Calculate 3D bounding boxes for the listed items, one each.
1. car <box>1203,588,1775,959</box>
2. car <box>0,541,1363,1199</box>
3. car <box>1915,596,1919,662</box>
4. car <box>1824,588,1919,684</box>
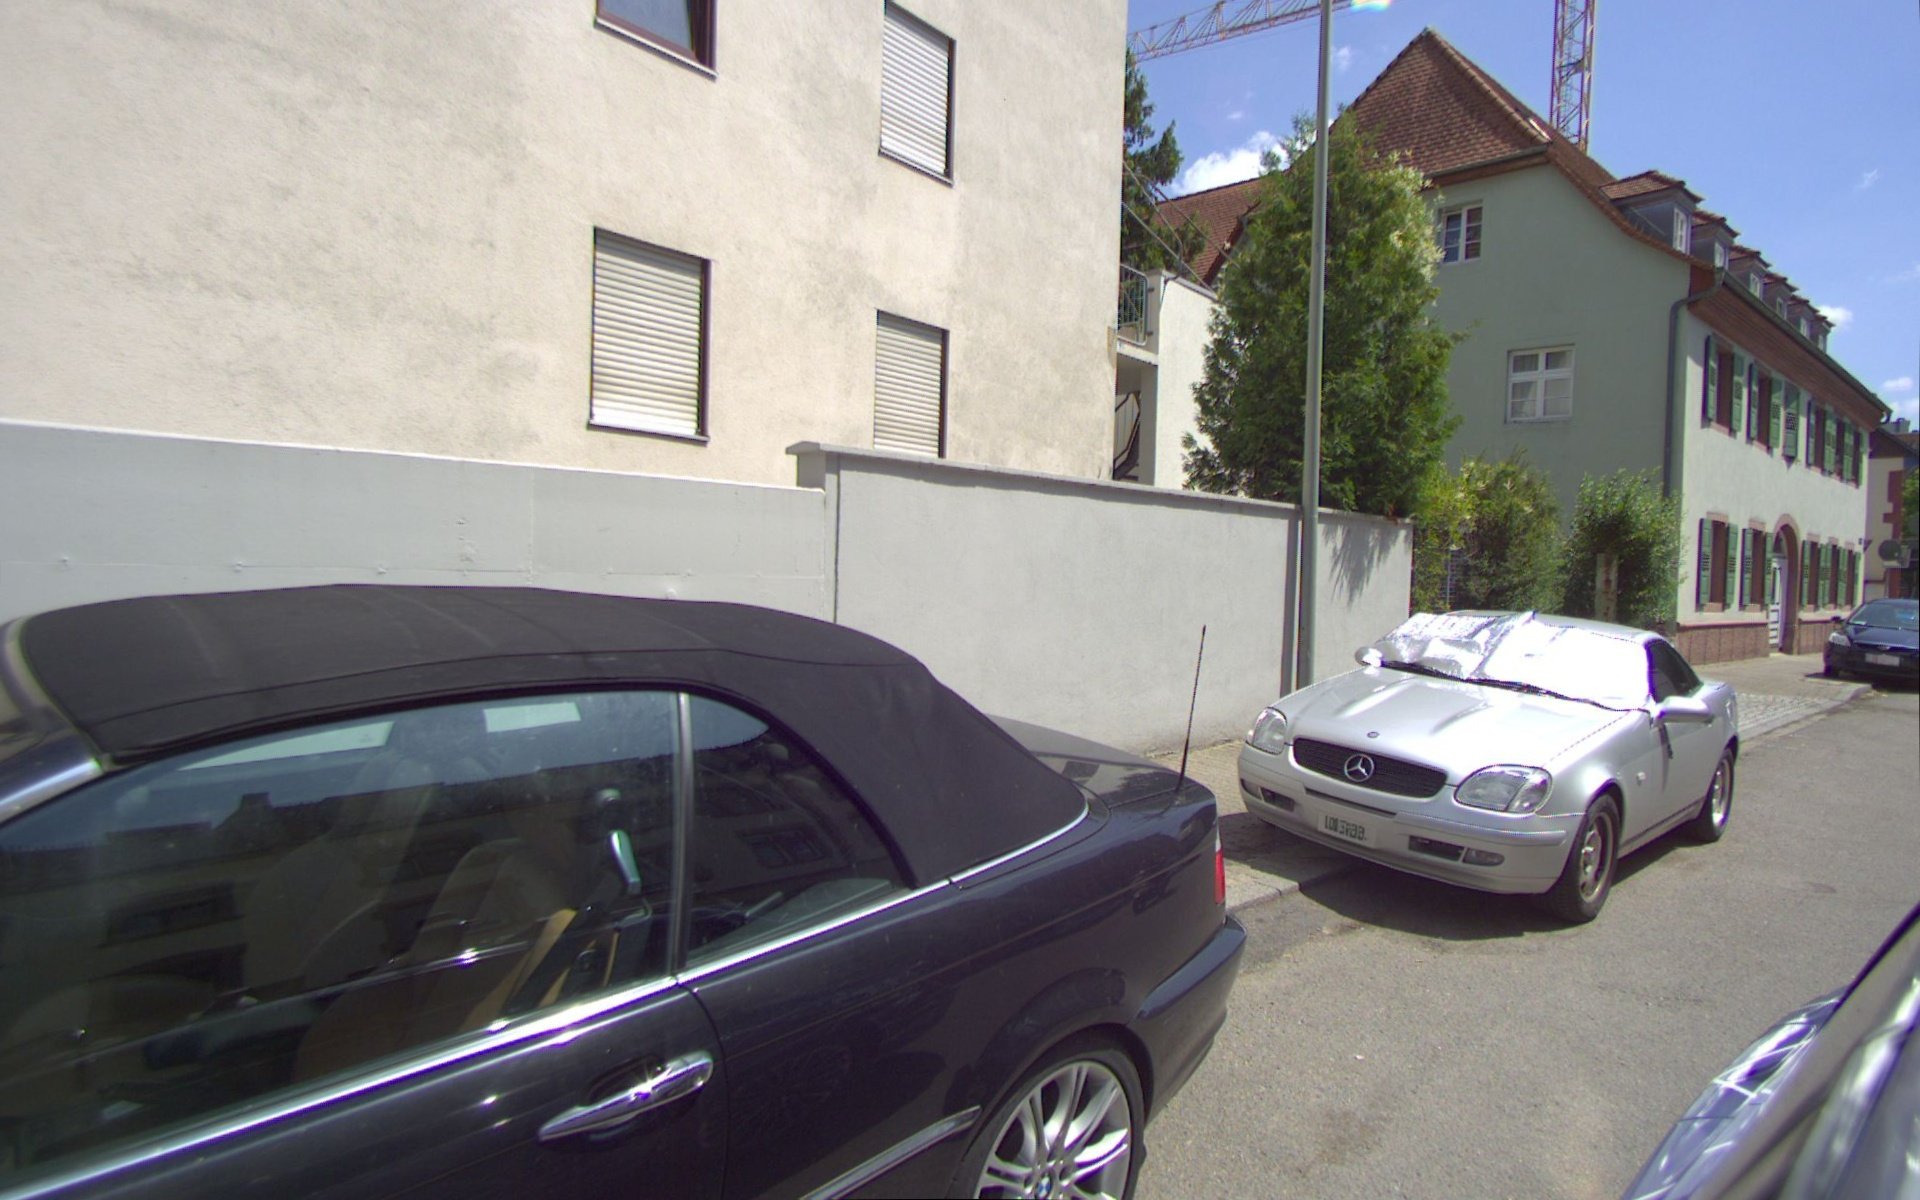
[{"bbox_3d":[3.215,0.679,5.828,3.755,1.370,1.589,0,4,-41],"label":"car"},{"bbox_3d":[-1.092,0.617,1.694,4.168,1.393,1.659,0,3,-43],"label":"car"},{"bbox_3d":[24.086,0.715,24.003,3.929,1.516,1.650,0,2,-41],"label":"car"},{"bbox_3d":[17.115,0.612,18.073,3.928,1.534,1.852,0,2,-39],"label":"car"}]
